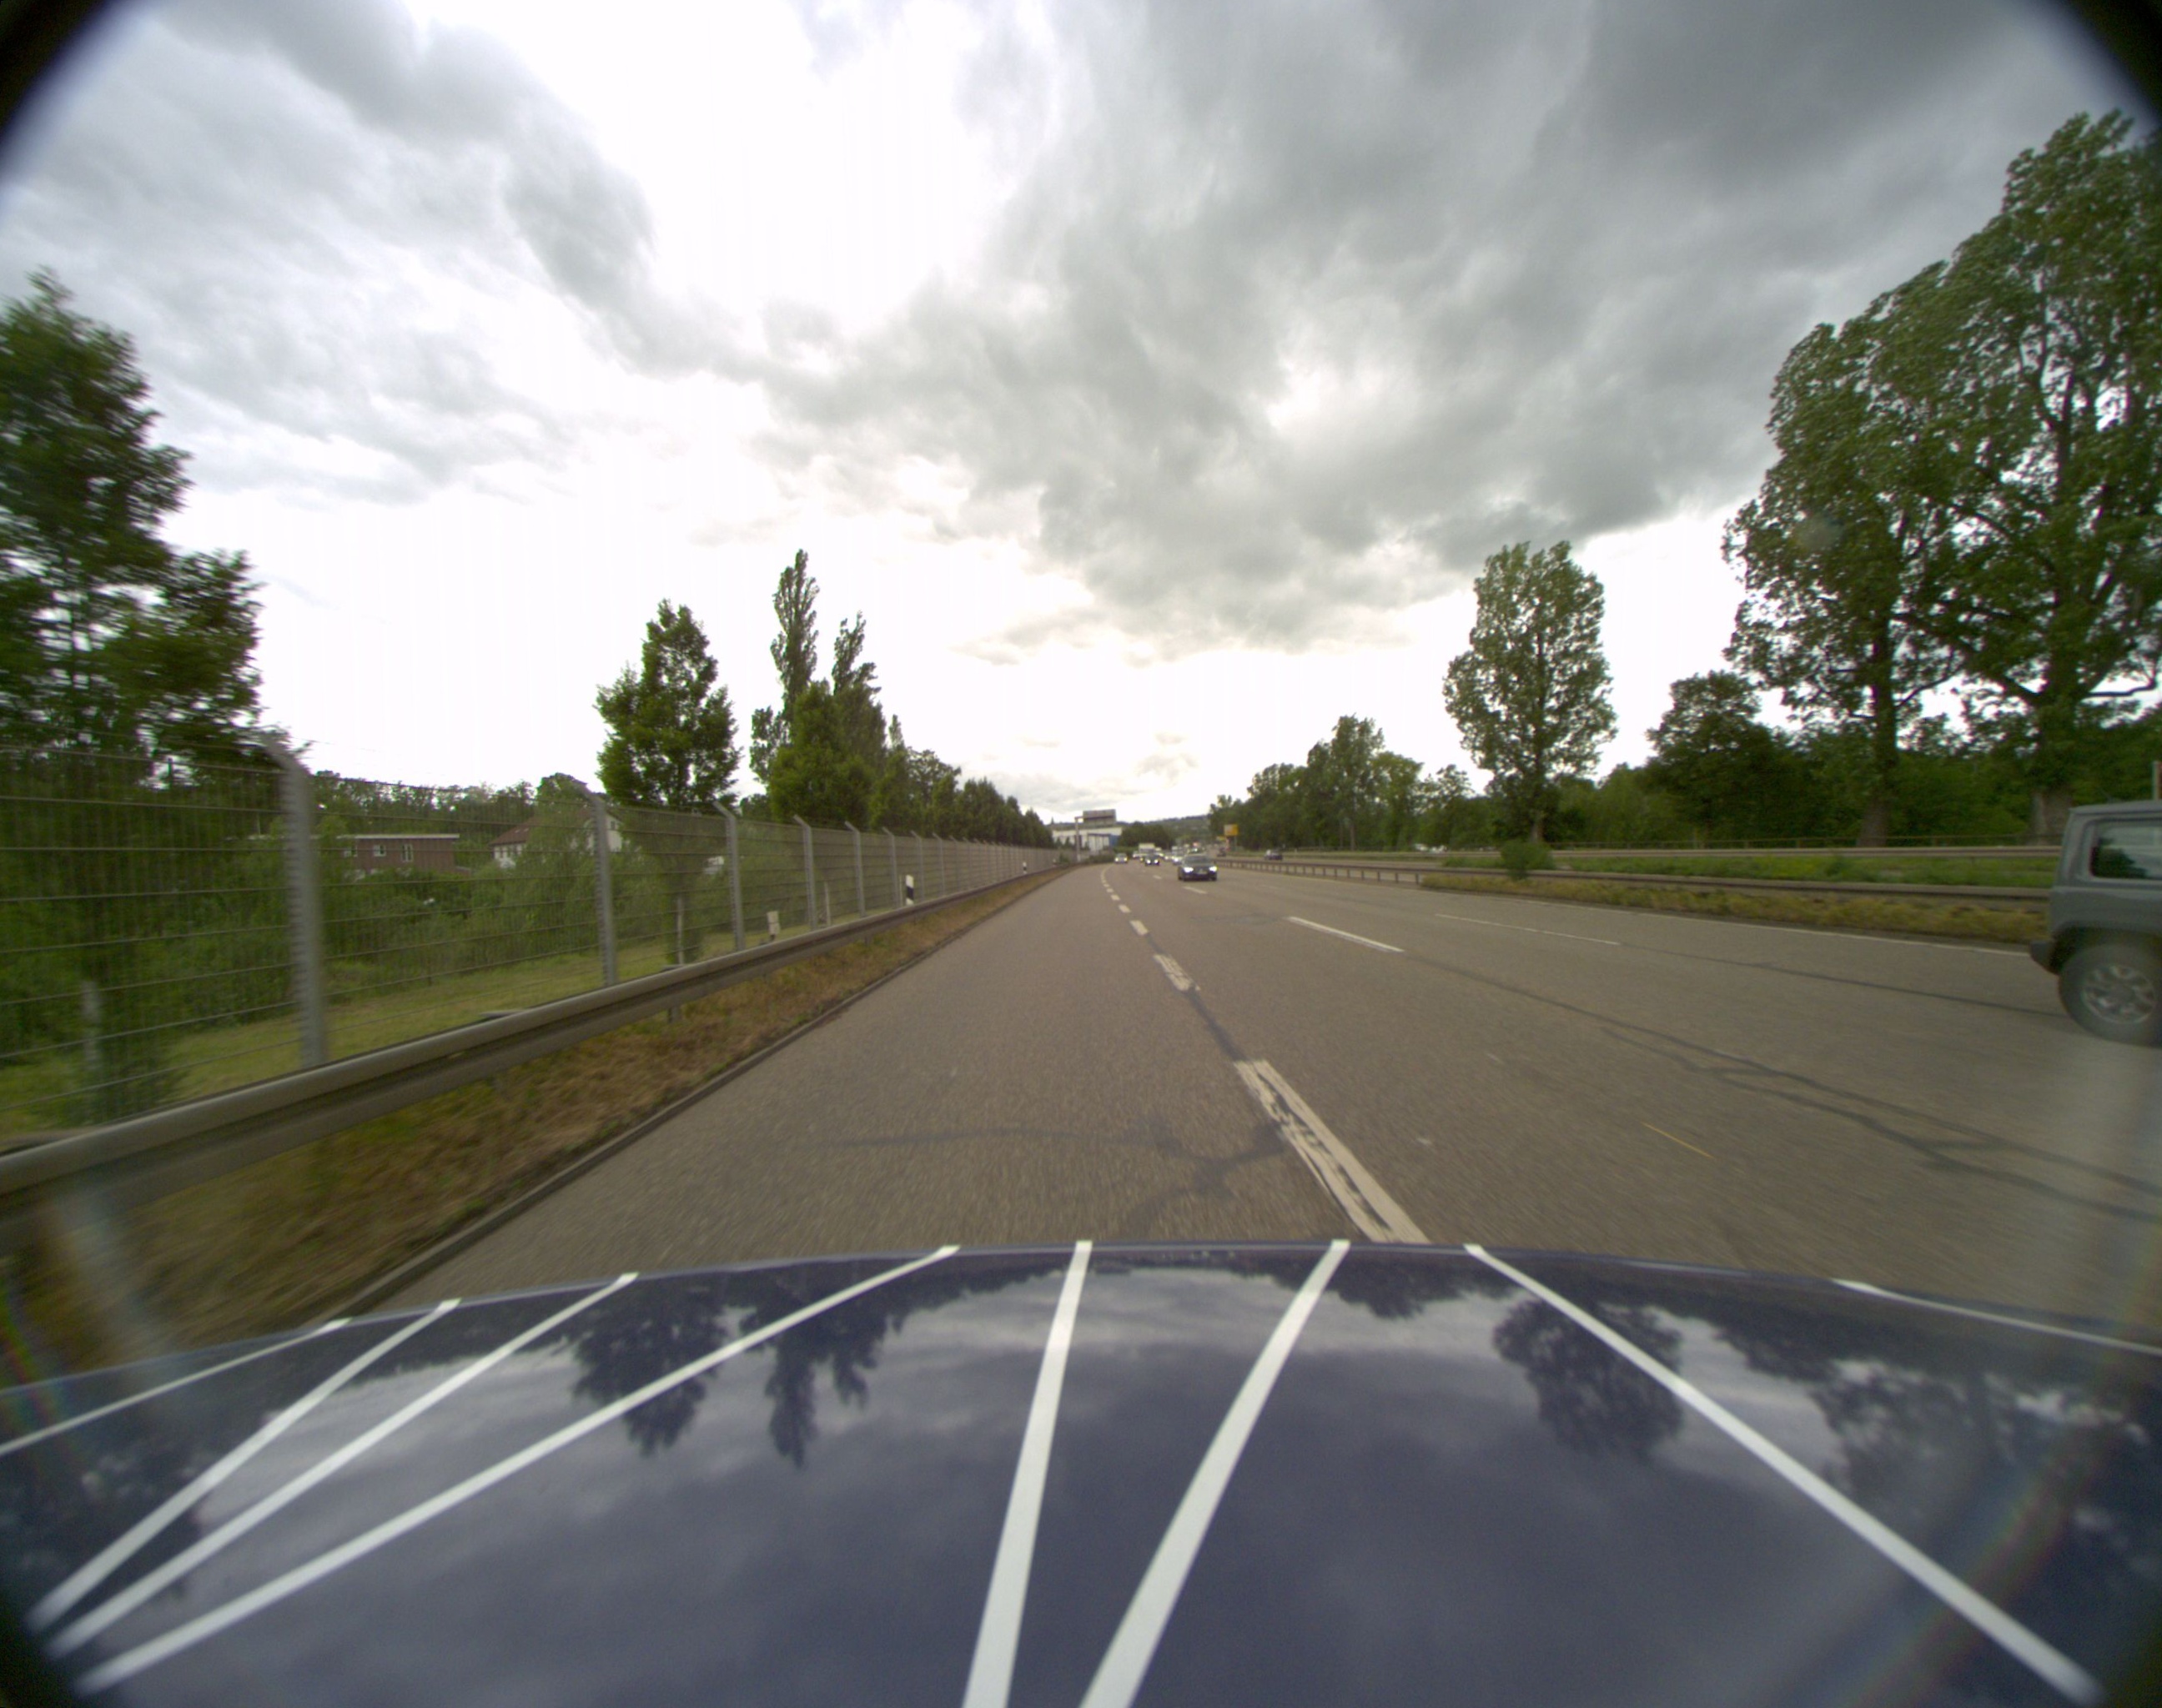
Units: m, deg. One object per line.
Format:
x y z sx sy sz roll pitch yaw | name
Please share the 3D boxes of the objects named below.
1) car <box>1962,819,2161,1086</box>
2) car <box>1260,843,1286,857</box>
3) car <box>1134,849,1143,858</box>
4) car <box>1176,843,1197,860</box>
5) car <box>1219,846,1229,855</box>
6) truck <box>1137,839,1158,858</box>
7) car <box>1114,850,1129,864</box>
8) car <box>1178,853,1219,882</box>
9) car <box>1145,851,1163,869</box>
7.754 0.621 4.014 1.684 1.726 3.999 -2 0 4 | car
24.625 -0.517 97.844 1.999 1.599 4.650 -4 0 -1 | car
13.574 -0.176 180.189 1.998 2.002 4.000 -2 0 2 | car
12.577 -0.272 90.657 1.878 1.853 4.000 -2 0 1 | car
32.442 -0.788 172.344 1.997 2.001 5.225 -4 -1 8 | car
11.202 -0.978 128.974 3.039 3.141 7.567 -2 1 1 | truck
6.368 0.498 118.832 1.998 2.002 4.001 -4 0 5 | car
6.399 0.699 41.772 1.939 1.492 4.305 -1 0 5 | car
8.764 0.687 90.938 1.998 2.002 4.002 -4 0 5 | car
